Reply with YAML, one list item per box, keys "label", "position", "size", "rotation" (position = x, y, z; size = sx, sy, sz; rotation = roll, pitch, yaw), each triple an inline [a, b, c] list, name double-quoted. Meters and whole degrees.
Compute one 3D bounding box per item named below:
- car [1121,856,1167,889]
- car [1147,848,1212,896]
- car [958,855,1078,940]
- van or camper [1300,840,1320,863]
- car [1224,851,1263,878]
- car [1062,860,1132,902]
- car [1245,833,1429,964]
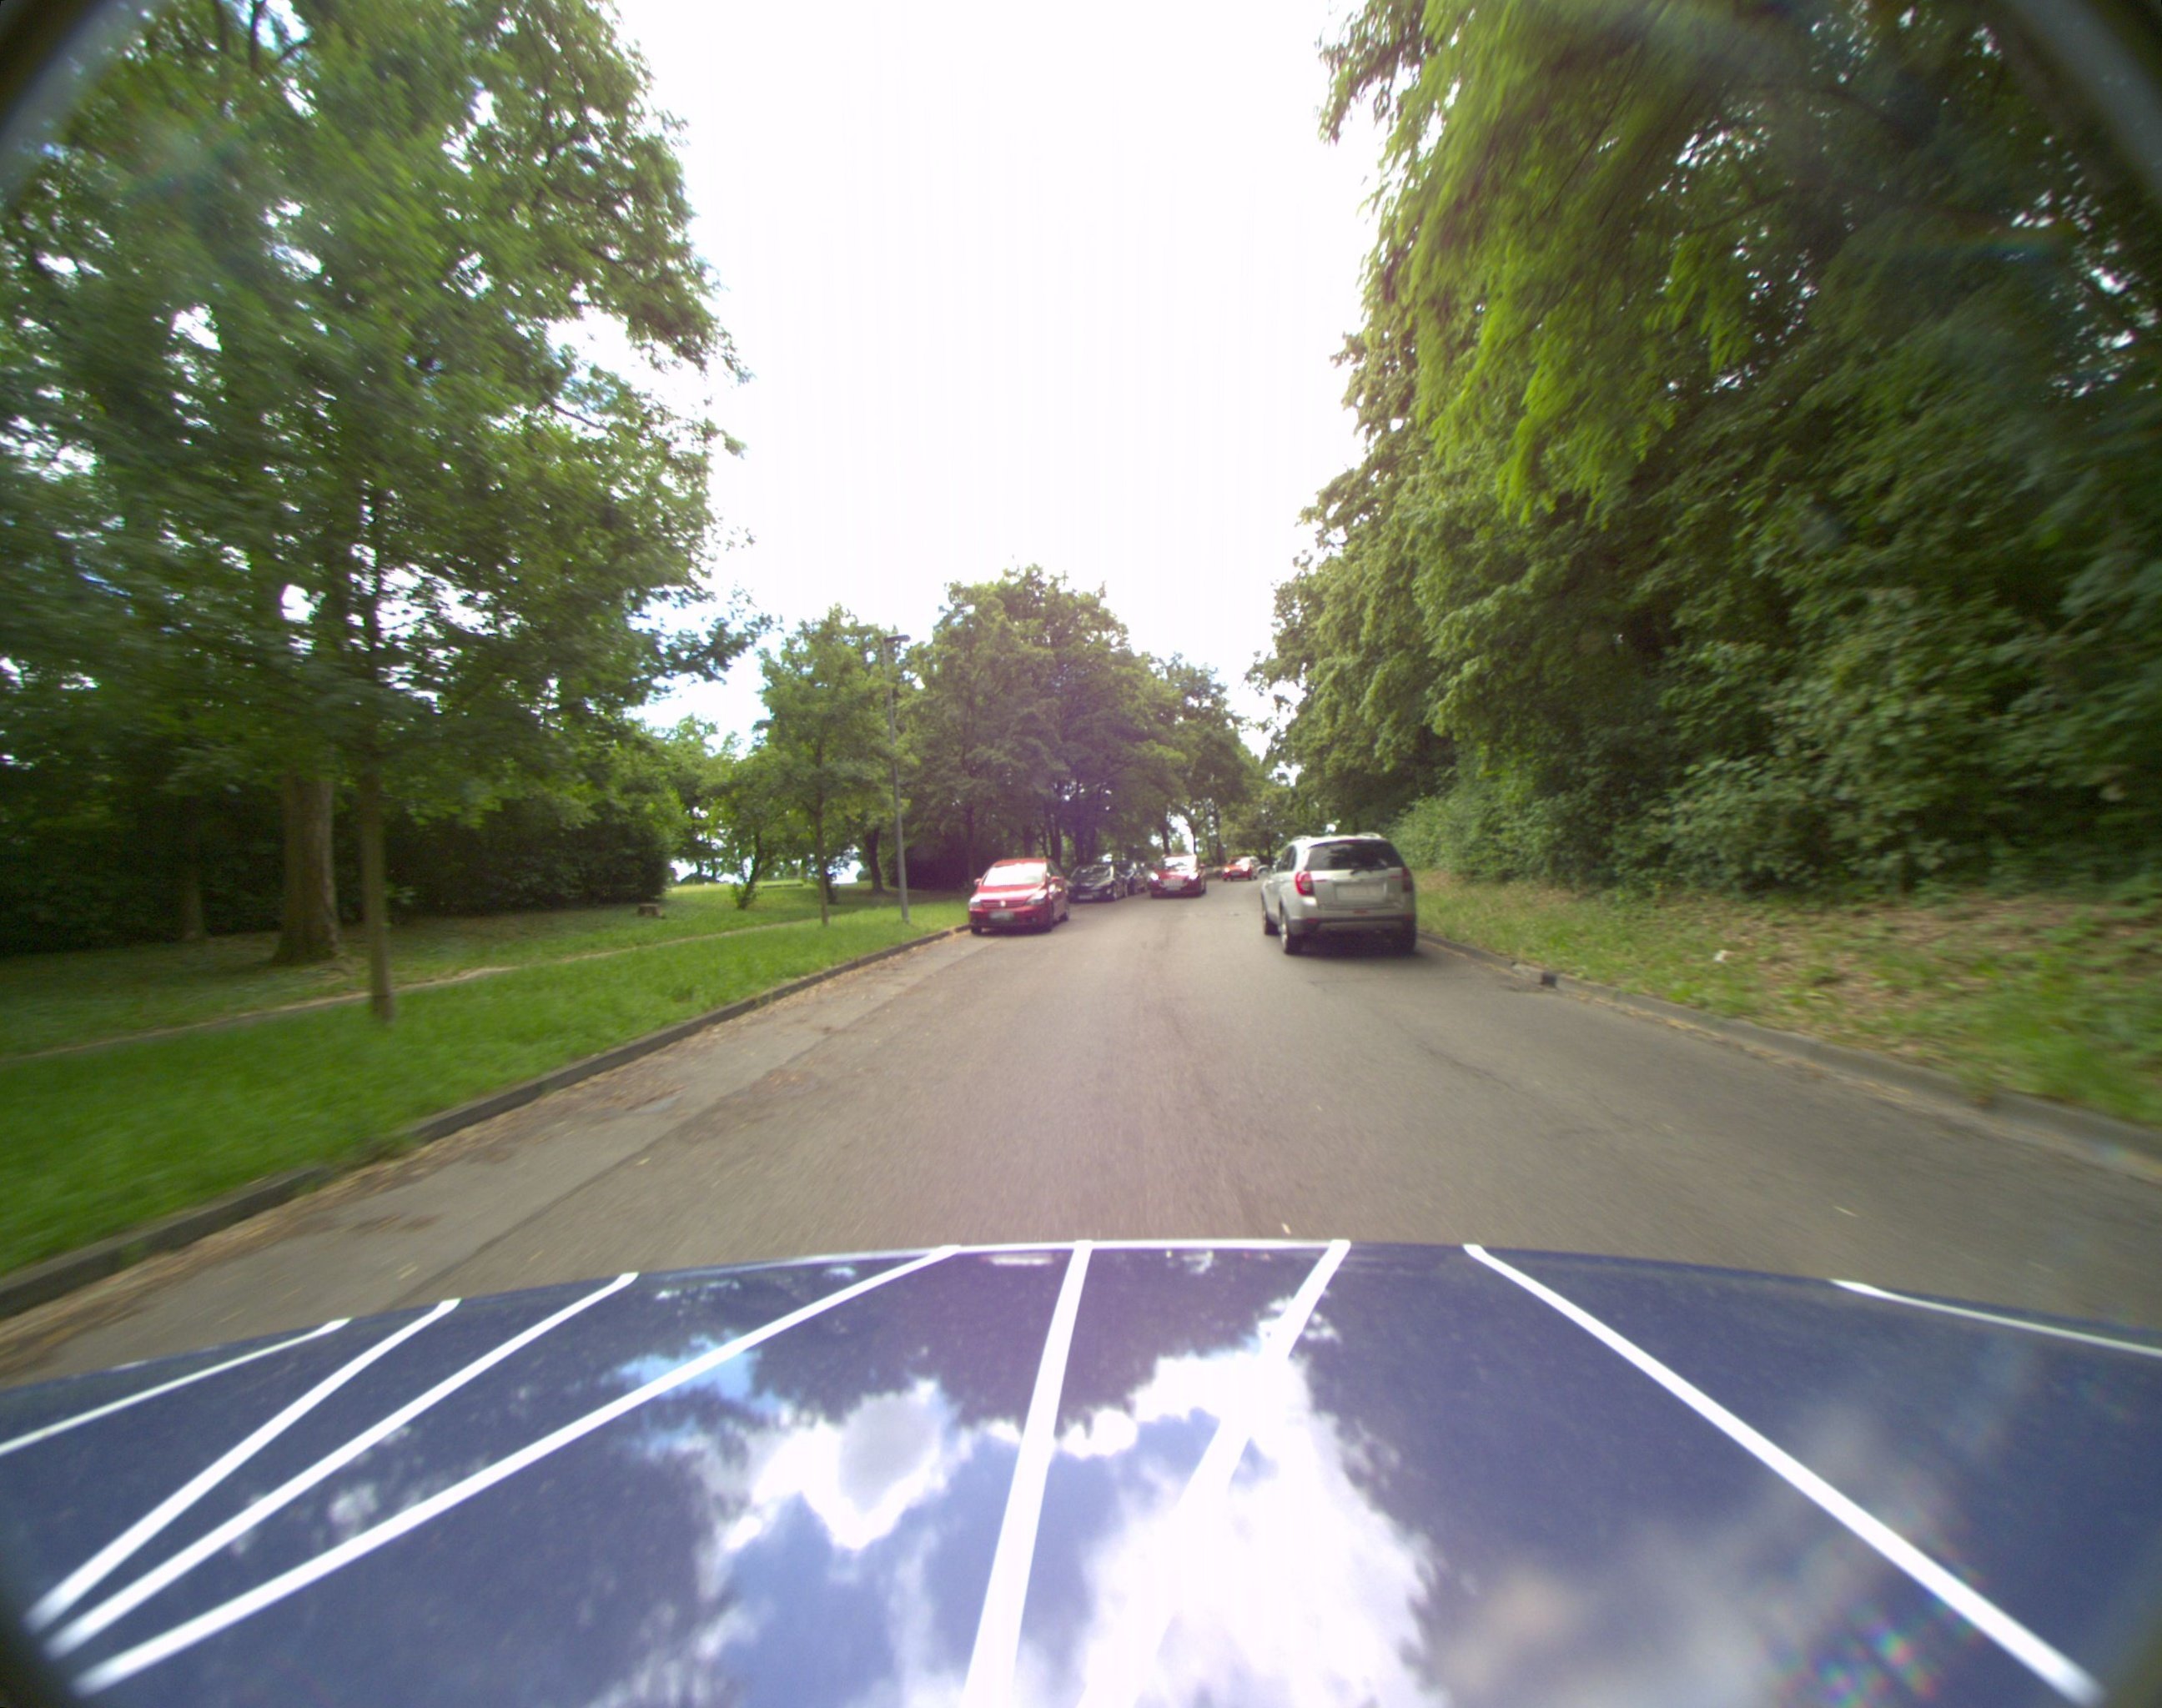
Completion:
- label: "car"
  position: [3.256, 0.902, 38.544]
  size: [1.713, 1.413, 4.680]
  rotation: [-2, 1, 12]
- label: "car"
  position: [3.944, 0.620, 29.696]
  size: [2.001, 1.599, 4.681]
  rotation: [-2, 1, 13]
- label: "car"
  position: [-1.262, 0.878, 17.387]
  size: [1.714, 1.543, 4.679]
  rotation: [-2, 1, 7]
- label: "van or camper"
  position: [25.304, -0.349, 83.992]
  size: [1.996, 2.330, 5.035]
  rotation: [-2, 1, 17]
- label: "car"
  position: [10.247, 0.630, 47.654]
  size: [1.955, 1.464, 4.682]
  rotation: [-2, 1, 17]
- label: "car"
  position: [0.697, 0.948, 28.456]
  size: [1.713, 1.249, 4.680]
  rotation: [-2, 1, 12]
- label: "car"
  position: [3.838, 0.561, 12.180]
  size: [1.824, 1.718, 4.313]
  rotation: [0, 1, 5]
